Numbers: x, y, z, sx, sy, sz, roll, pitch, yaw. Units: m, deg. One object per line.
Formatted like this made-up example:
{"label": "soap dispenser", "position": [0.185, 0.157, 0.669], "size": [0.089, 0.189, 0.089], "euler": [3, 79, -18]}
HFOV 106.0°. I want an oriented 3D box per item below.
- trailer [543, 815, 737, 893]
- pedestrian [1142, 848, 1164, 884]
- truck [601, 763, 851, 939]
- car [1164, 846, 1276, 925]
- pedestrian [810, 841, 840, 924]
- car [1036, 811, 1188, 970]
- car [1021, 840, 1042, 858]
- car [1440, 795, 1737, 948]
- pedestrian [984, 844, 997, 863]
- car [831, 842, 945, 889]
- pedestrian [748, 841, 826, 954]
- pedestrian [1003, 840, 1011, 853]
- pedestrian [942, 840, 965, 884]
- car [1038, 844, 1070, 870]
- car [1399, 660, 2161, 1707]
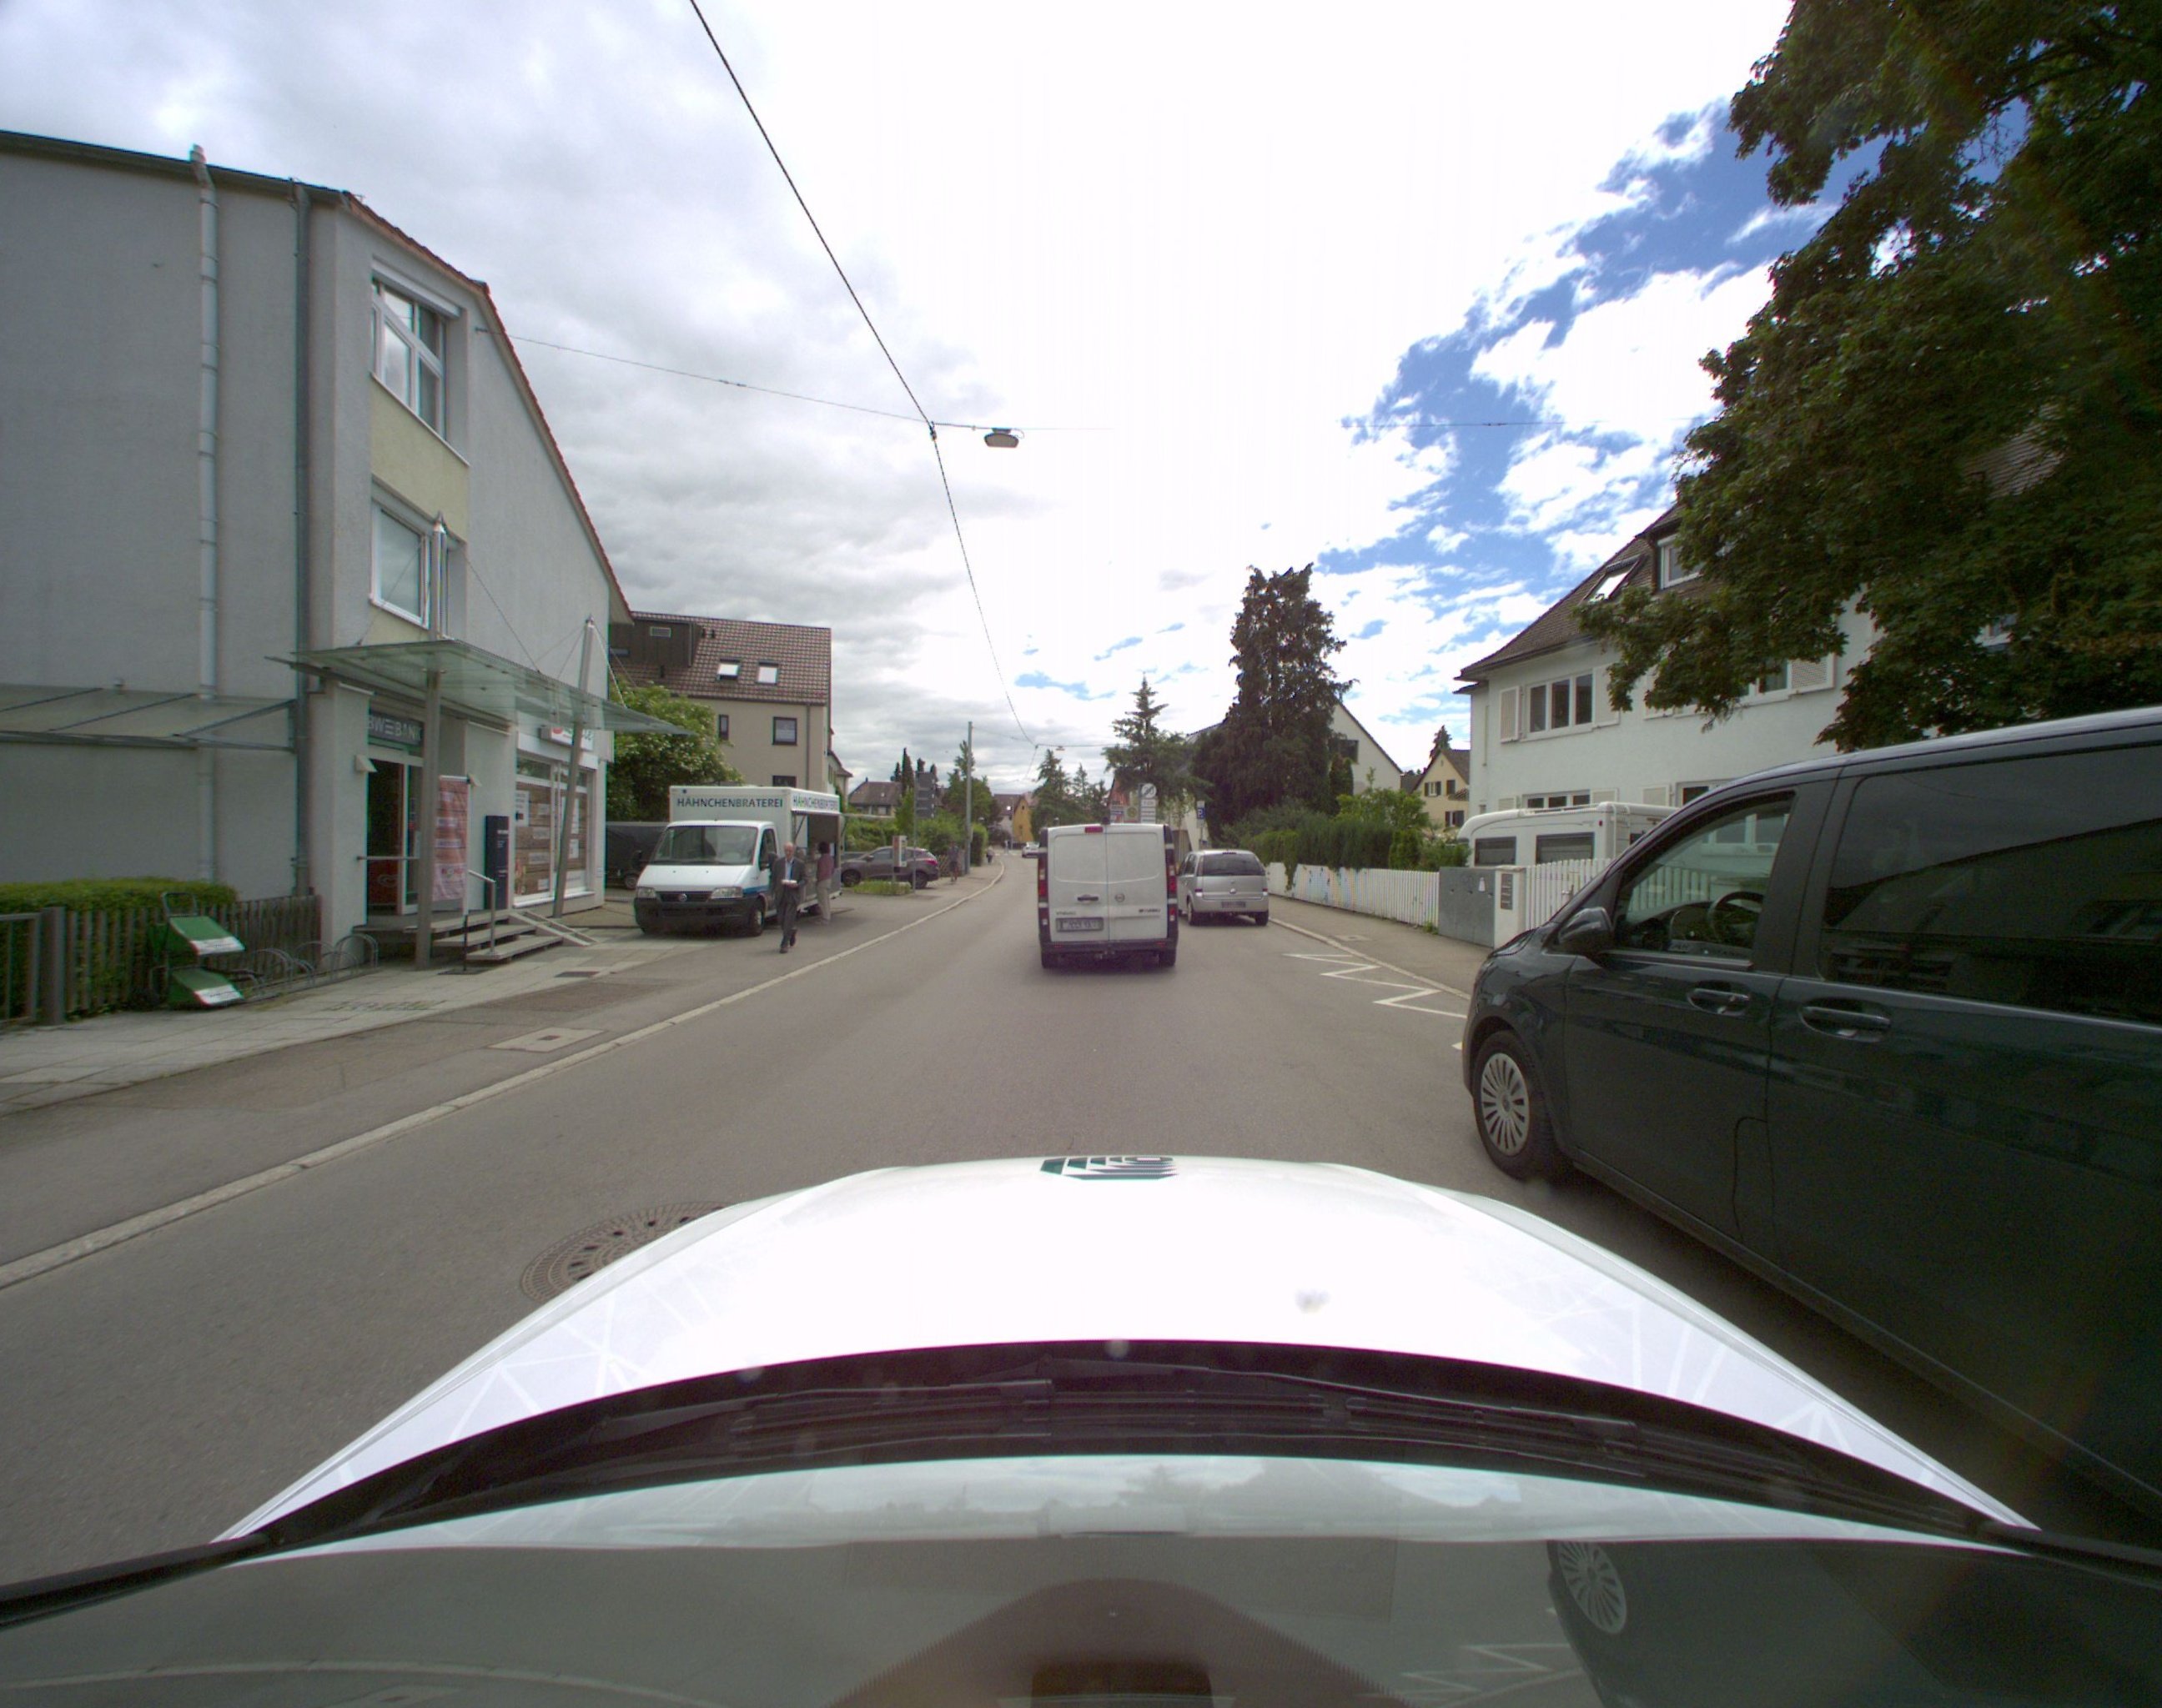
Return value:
{"label": "trailer", "position": [-13.367, -0.017, 24.899], "size": [4.854, 2.080, 1.701], "euler": [3, 2, -6]}
{"label": "pedestrian", "position": [3.338, 0.549, 37.863], "size": [0.852, 1.645, 0.883], "euler": [3, 0, -1]}
{"label": "truck", "position": [-6.727, -0.054, 16.642], "size": [2.468, 2.840, 6.699], "euler": [1, 0, -4]}
{"label": "car", "position": [3.051, 0.630, 18.664], "size": [1.755, 1.582, 4.015], "euler": [-1, 0, -2]}
{"label": "pedestrian", "position": [-5.342, 0.582, 17.021], "size": [0.400, 1.695, 0.596], "euler": [3, 0, -4]}
{"label": "car", "position": [0.288, 0.456, 12.482], "size": [1.911, 2.002, 4.433], "euler": [0, 0, -3]}
{"label": "car", "position": [-5.215, -0.509, 85.620], "size": [1.992, 1.782, 3.991], "euler": [-1, 0, -7]}
{"label": "car", "position": [10.397, 0.317, 17.361], "size": [2.498, 2.682, 5.168], "euler": [3, 0, -10]}
{"label": "pedestrian", "position": [-7.426, -0.021, 66.724], "size": [0.880, 1.485, 0.451], "euler": [3, 0, -27]}
{"label": "car", "position": [-7.797, 0.446, 33.108], "size": [4.316, 1.695, 1.790], "euler": [3, 0, -14]}
{"label": "pedestrian", "position": [-4.634, 0.663, 12.910], "size": [0.720, 1.686, 1.109], "euler": [3, 0, 1]}
{"label": "pedestrian", "position": [-8.904, -0.900, 97.824], "size": [0.805, 1.609, 0.625], "euler": [3, 0, -12]}
{"label": "pedestrian", "position": [-5.771, 0.343, 36.977], "size": [0.730, 1.946, 1.218], "euler": [3, 0, 2]}
{"label": "car", "position": [-2.013, 0.188, 59.406], "size": [1.992, 1.848, 3.991], "euler": [0, 0, -7]}
{"label": "car", "position": [2.887, 0.593, 2.522], "size": [1.902, 1.848, 5.159], "euler": [1, 0, 1]}
